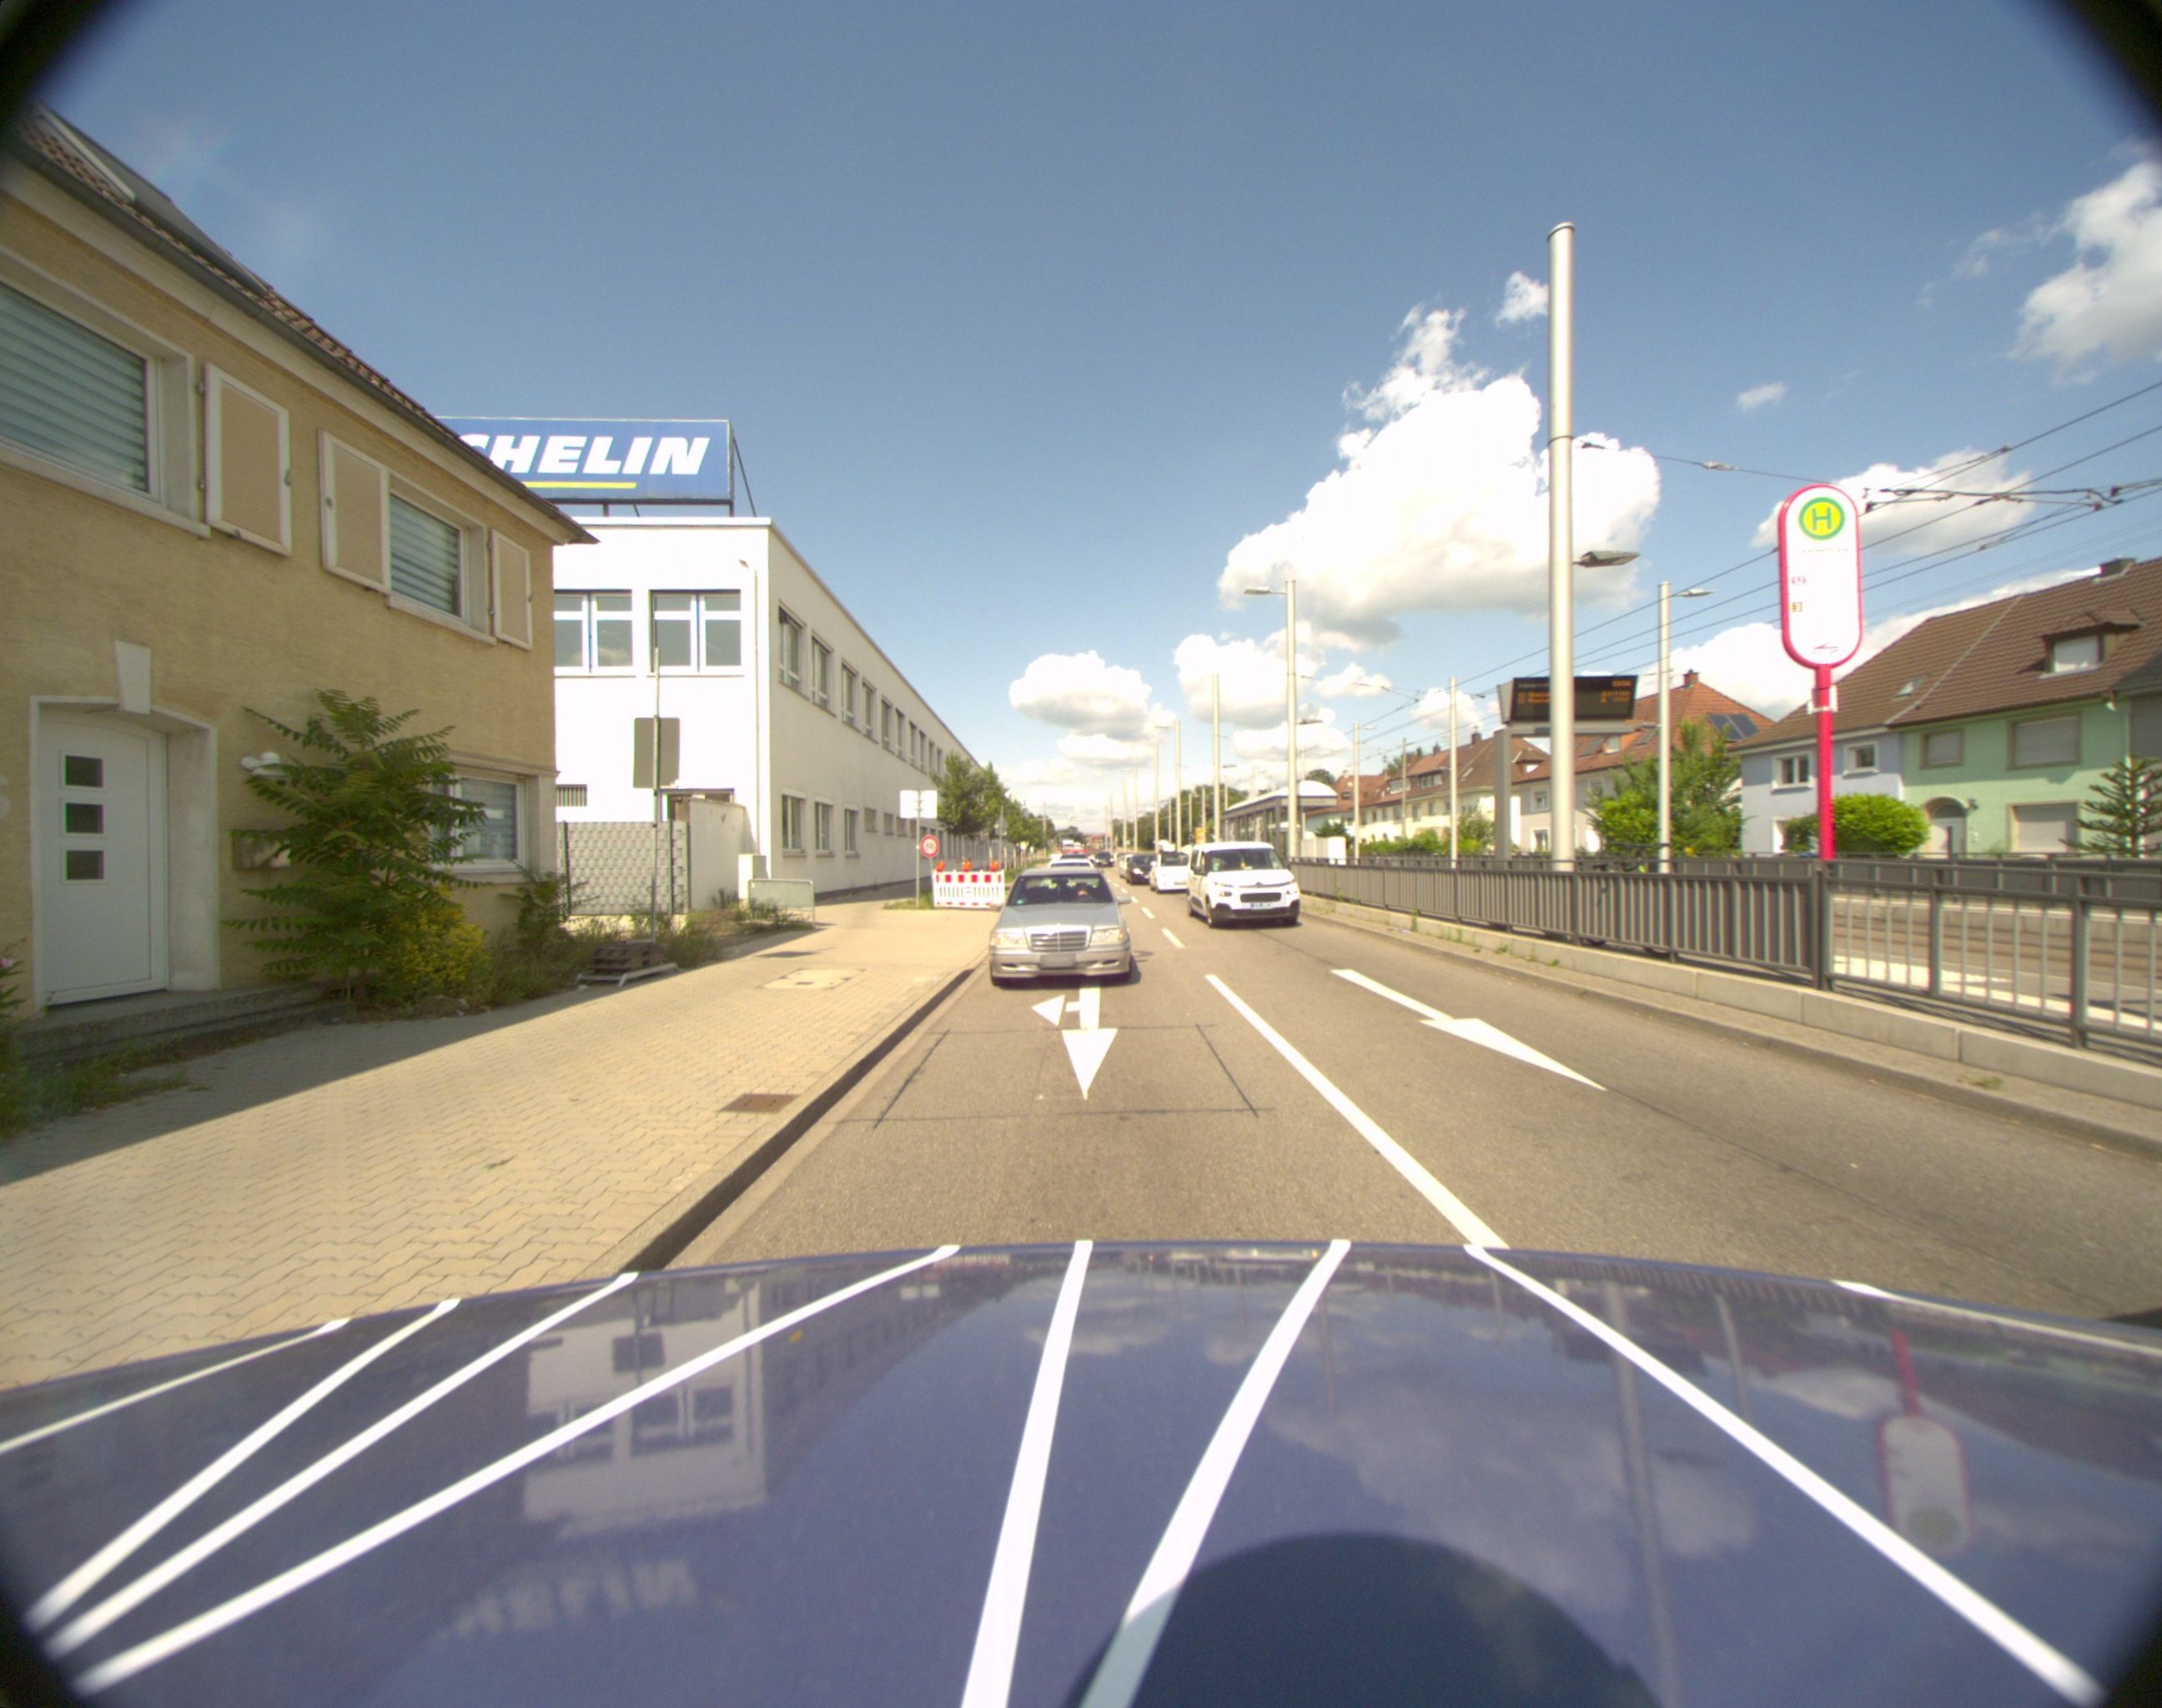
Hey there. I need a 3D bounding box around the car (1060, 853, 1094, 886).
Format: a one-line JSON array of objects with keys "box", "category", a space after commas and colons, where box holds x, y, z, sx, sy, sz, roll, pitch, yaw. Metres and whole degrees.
[{"box": [-0.227, 0.783, 39.908, 1.664, 1.530, 3.999, -2, 1, -1], "category": "car"}]

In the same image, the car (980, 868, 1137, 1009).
[{"box": [-0.291, 1.003, 10.851, 1.725, 1.389, 4.461, -2, 1, -1], "category": "car"}]

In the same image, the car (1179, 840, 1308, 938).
[{"box": [3.416, 0.646, 16.789, 1.799, 1.805, 4.328, -2, 1, -1], "category": "car"}]

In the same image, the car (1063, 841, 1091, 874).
[{"box": [-0.297, 0.185, 53.078, 1.787, 2.135, 5.168, -2, 1, -1], "category": "car"}]

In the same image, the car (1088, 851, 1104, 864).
[{"box": [1.715, 0.435, 90.255, 1.698, 1.350, 4.498, -2, 1, -1], "category": "car"}]

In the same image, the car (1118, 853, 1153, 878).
[{"box": [3.288, 0.687, 46.714, 1.698, 1.350, 4.498, -2, 1, -1], "category": "car"}]

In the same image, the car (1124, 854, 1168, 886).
[{"box": [3.137, 0.738, 37.375, 1.680, 1.414, 3.557, -2, 1, -3], "category": "car"}]

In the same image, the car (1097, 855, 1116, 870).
[{"box": [2.549, 0.815, 77.594, 1.698, 1.350, 4.498, -2, 1, -1], "category": "car"}]

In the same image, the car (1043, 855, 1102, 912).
[{"box": [-0.278, 0.875, 24.339, 1.664, 1.564, 3.999, -2, 1, -1], "category": "car"}]

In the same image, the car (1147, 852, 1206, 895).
[{"box": [3.640, 0.711, 29.530, 1.680, 1.495, 3.392, -2, 0, -3], "category": "car"}]
